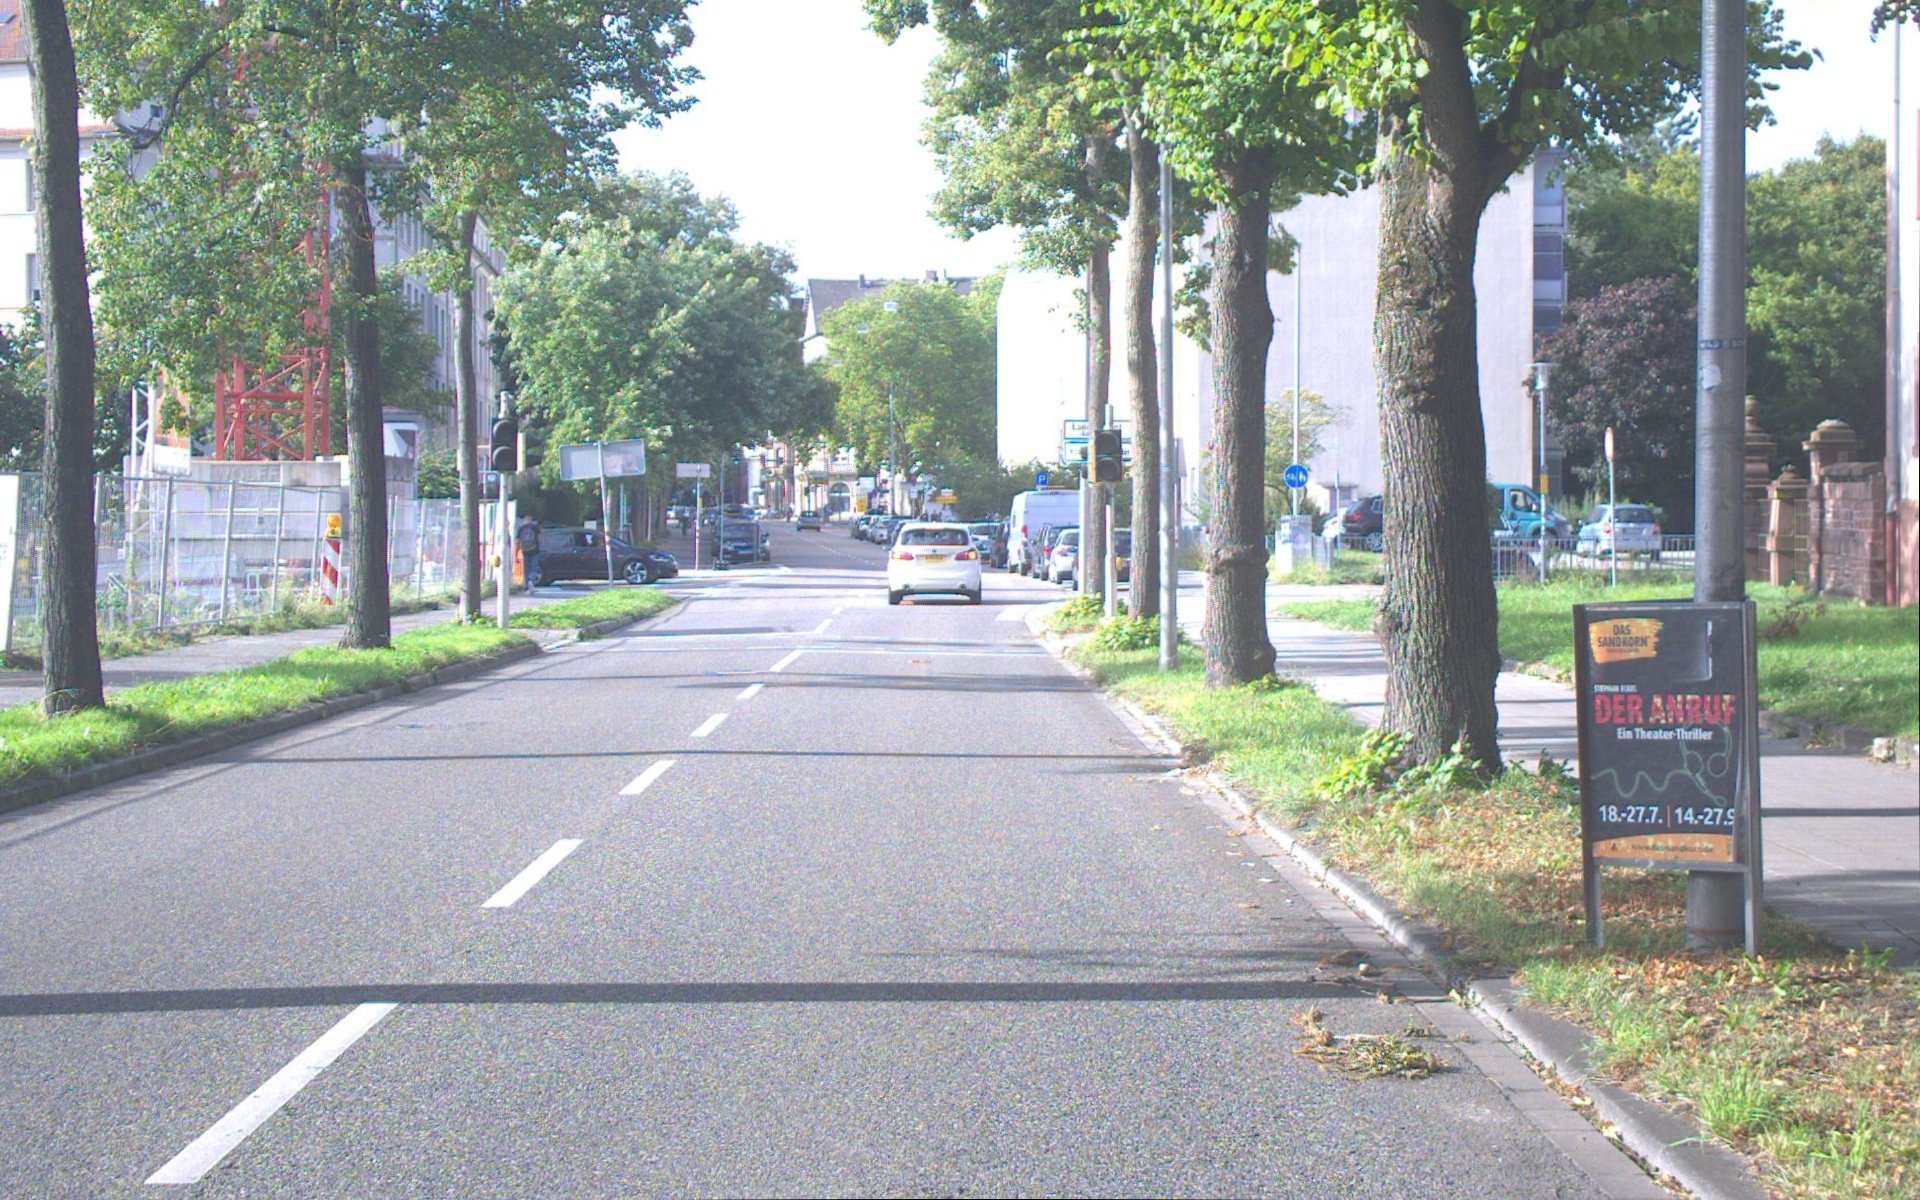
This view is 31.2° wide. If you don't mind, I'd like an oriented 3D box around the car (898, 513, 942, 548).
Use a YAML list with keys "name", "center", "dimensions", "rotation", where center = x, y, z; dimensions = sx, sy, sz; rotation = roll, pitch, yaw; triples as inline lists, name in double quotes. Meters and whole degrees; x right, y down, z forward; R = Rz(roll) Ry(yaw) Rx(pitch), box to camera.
- name: "car"
  center: [-1.908, -3.308, 163.092]
  dimensions: [1.993, 1.568, 4.001]
  rotation: [-1, 2, -1]

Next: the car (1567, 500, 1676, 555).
- name: "car"
  center: [18.004, -1.983, 93.748]
  dimensions: [1.993, 1.437, 4.001]
  rotation: [-1, 2, -3]

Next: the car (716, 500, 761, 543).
- name: "car"
  center: [-10.798, -3.837, 167.591]
  dimensions: [1.993, 2.006, 4.001]
  rotation: [-1, 2, -1]

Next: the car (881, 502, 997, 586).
- name: "car"
  center: [-0.440, -1.094, 66.948]
  dimensions: [1.993, 1.549, 4.275]
  rotation: [1, 1, -4]

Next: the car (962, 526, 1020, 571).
- name: "car"
  center: [1.114, -1.918, 126.194]
  dimensions: [1.993, 1.568, 4.001]
  rotation: [-1, 2, -1]

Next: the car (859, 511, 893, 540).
- name: "car"
  center: [-5.188, -4.610, 212.815]
  dimensions: [1.993, 1.749, 4.000]
  rotation: [1, 1, 0]

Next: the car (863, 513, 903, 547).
- name: "car"
  center: [-4.040, -3.672, 180.694]
  dimensions: [1.993, 1.749, 4.000]
  rotation: [1, 1, 0]

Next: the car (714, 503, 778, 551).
- name: "car"
  center: [-7.538, -2.597, 121.018]
  dimensions: [1.993, 1.634, 4.001]
  rotation: [-1, 2, -7]

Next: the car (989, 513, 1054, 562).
- name: "car"
  center: [2.062, -2.109, 115.633]
  dimensions: [1.993, 1.568, 4.001]
  rotation: [-1, 2, -1]

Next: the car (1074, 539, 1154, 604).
- name: "car"
  center: [3.654, -0.708, 82.150]
  dimensions: [1.717, 1.491, 4.268]
  rotation: [-1, 1, 0]

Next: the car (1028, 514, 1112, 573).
- name: "car"
  center: [3.125, -1.650, 98.676]
  dimensions: [1.993, 1.610, 4.409]
  rotation: [-1, 2, -4]

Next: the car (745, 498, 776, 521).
- name: "car"
  center: [-14.993, -6.821, 258.321]
  dimensions: [2.055, 1.658, 3.927]
  rotation: [-1, 2, -7]

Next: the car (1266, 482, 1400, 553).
- name: "car"
  center: [11.814, -2.626, 109.036]
  dimensions: [4.120, 2.178, 2.000]
  rotation: [-1, 2, 3]

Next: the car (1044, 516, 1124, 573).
- name: "car"
  center: [3.337, -1.502, 93.323]
  dimensions: [2.015, 1.470, 4.802]
  rotation: [-1, 1, 0]

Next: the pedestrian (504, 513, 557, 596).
- name: "pedestrian"
  center: [-9.023, -0.950, 72.189]
  dimensions: [1.006, 1.722, 1.178]
  rotation: [0, 0, -13]

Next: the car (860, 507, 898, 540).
- name: "car"
  center: [-4.535, -4.276, 192.343]
  dimensions: [1.993, 1.749, 4.000]
  rotation: [1, 1, 0]

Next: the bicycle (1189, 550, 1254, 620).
- name: "bicycle"
  center: [4.125, -0.251, 54.412]
  dimensions: [0.740, 1.031, 2.762]
  rotation: [-2, 1, -1]

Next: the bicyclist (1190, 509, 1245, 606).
- name: "bicyclist"
  center: [4.093, -0.677, 54.637]
  dimensions: [0.737, 1.508, 0.875]
  rotation: [-2, 1, -1]

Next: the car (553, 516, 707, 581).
- name: "car"
  center: [-8.347, -1.310, 86.742]
  dimensions: [1.994, 1.565, 3.999]
  rotation: [0, 2, -39]

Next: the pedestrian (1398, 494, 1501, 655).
- name: "pedestrian"
  center: [5.049, -0.271, 35.484]
  dimensions: [0.814, 1.585, 0.769]
  rotation: [-5, 1, -1]

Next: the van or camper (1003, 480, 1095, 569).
- name: "van or camper"
  center: [2.683, -2.320, 104.695]
  dimensions: [2.209, 2.598, 5.373]
  rotation: [-1, 2, -4]
